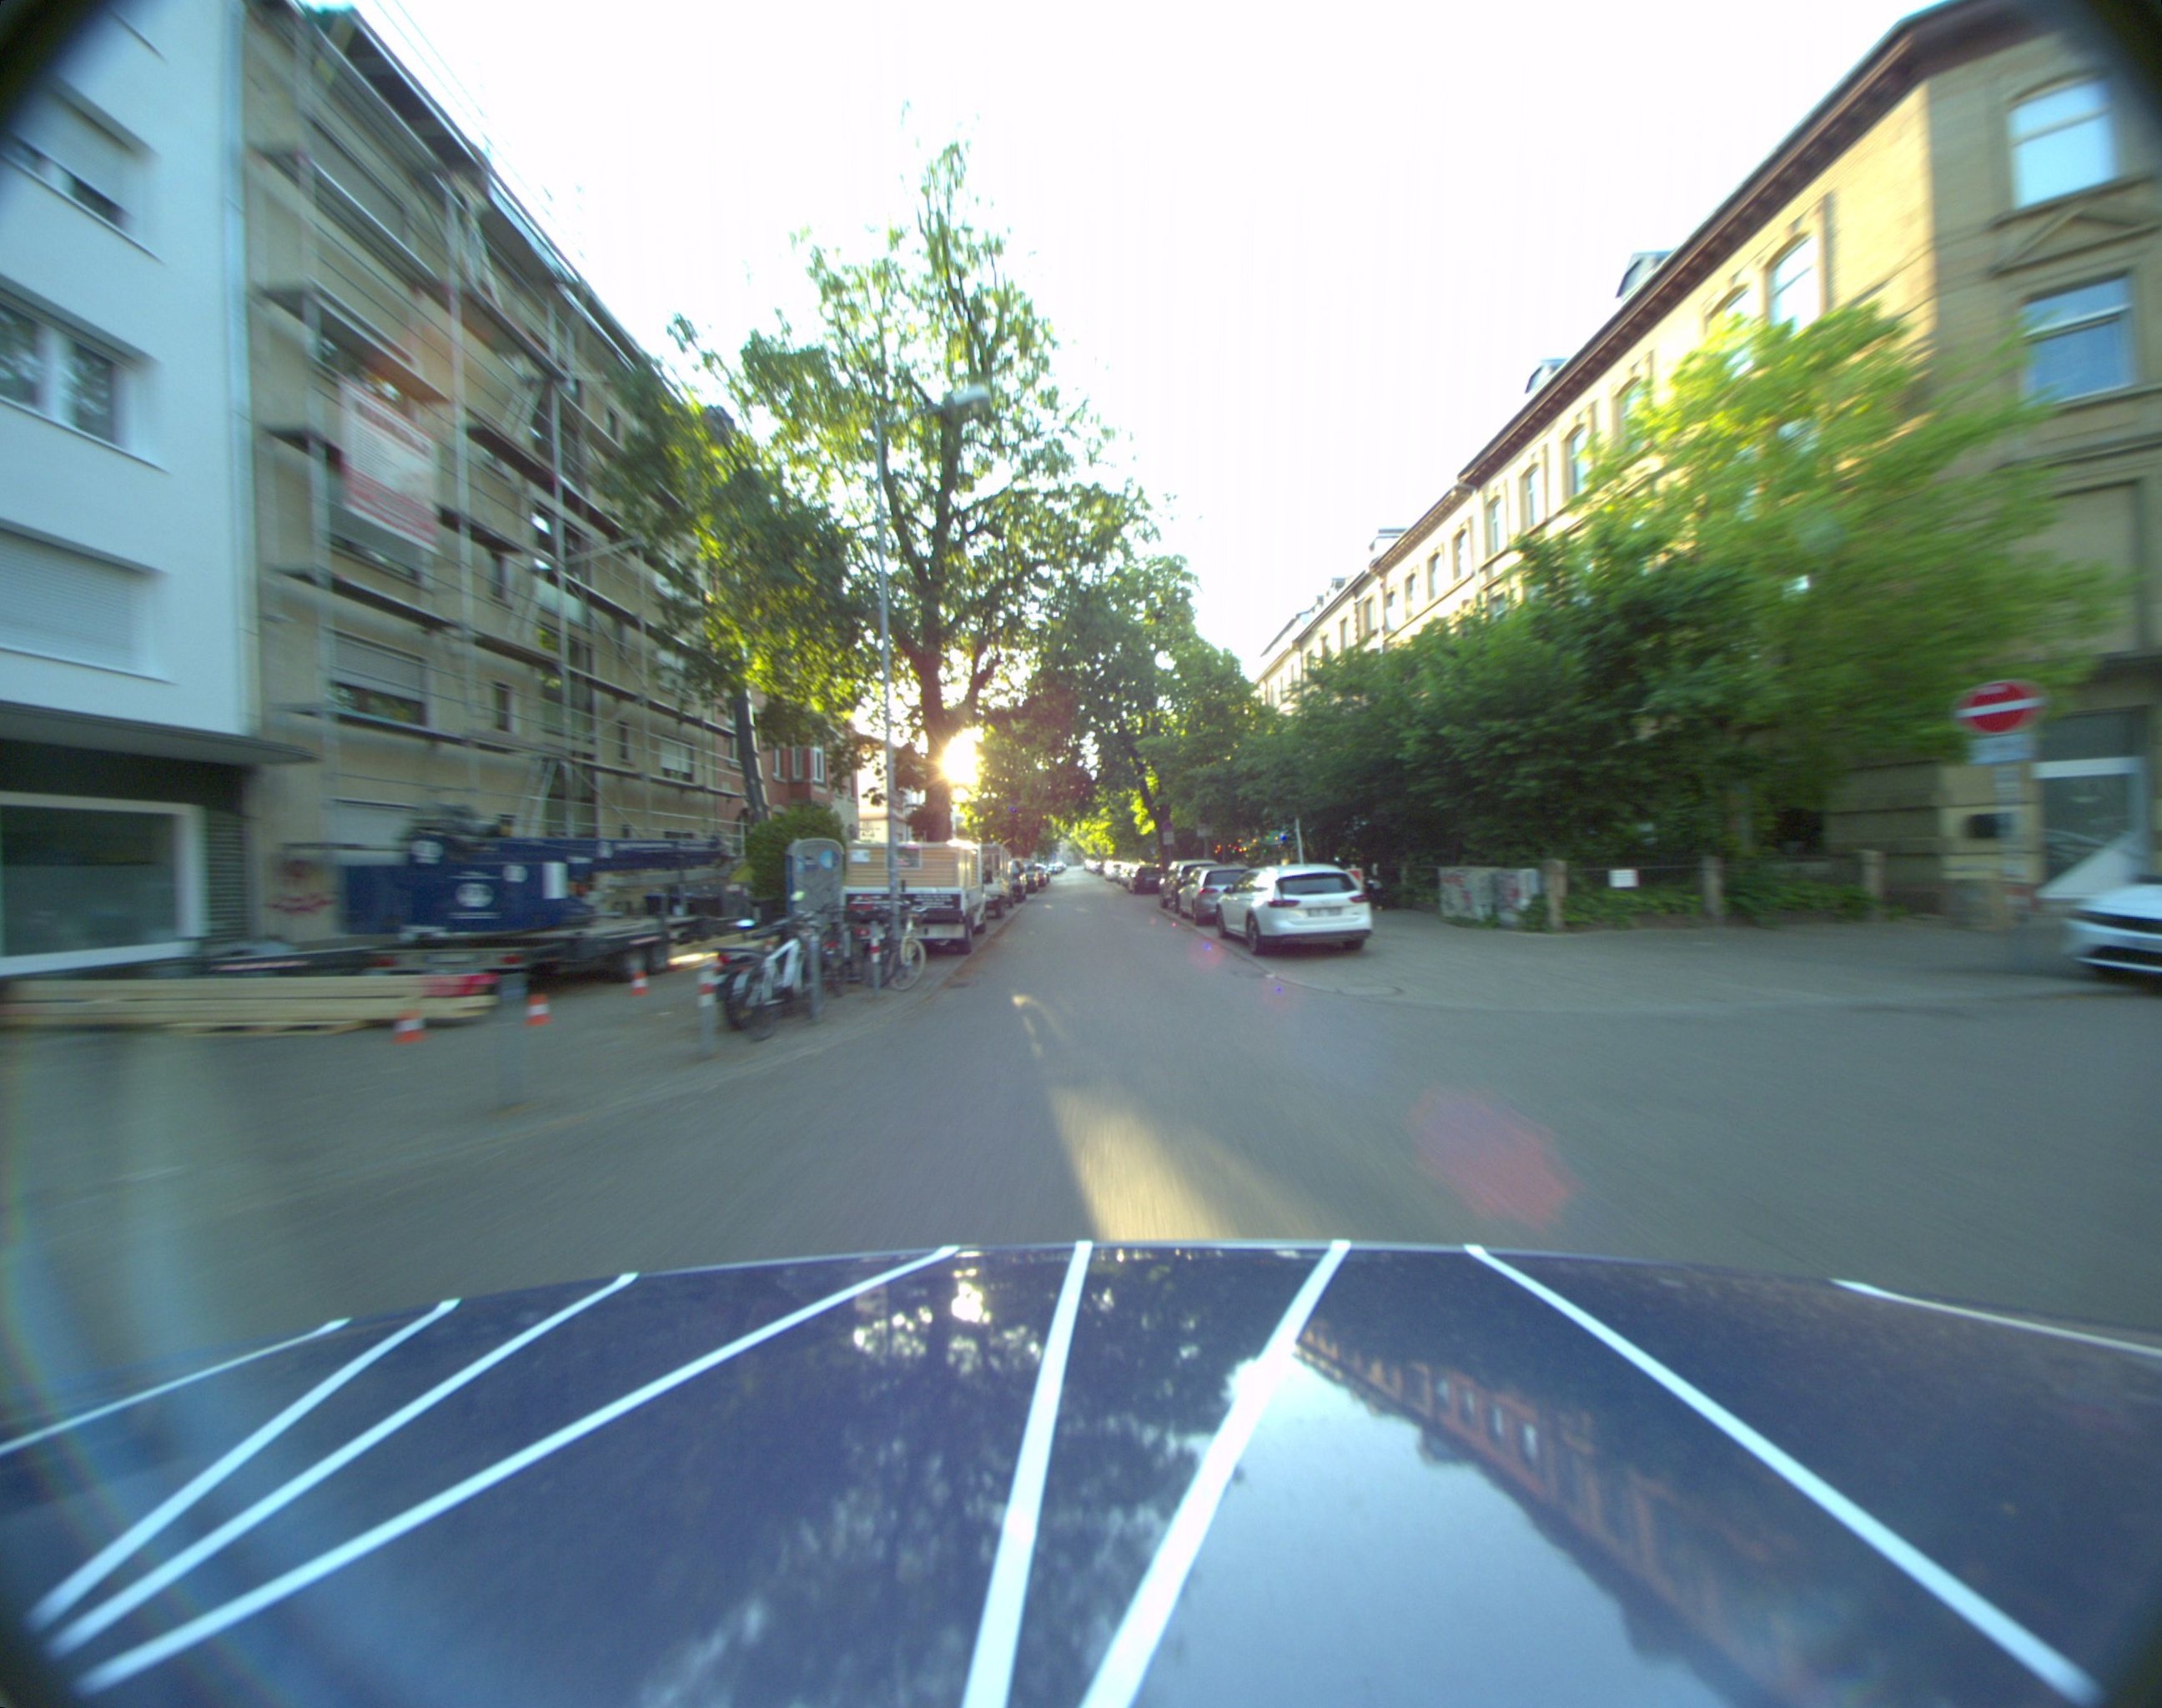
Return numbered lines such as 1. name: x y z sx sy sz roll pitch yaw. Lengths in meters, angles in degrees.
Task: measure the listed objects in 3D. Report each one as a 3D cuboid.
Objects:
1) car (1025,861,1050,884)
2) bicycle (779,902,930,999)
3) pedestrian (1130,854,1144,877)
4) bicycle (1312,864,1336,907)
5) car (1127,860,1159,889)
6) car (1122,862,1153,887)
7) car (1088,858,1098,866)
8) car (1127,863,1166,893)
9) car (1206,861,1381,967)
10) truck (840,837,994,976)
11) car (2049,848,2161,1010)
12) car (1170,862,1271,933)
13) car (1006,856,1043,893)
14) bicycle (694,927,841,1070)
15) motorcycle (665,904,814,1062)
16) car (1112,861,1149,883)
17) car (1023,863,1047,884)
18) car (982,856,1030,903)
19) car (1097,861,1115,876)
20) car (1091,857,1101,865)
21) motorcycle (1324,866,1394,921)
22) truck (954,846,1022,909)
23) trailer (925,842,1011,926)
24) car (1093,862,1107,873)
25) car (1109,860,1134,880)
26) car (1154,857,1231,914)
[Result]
1. car: -3.428 1.443 59.334 1.669 1.668 4.118 1 -1 -6
2. bicycle: -3.051 1.292 10.327 1.908 1.251 0.407 0 0 -6
3. pedestrian: 5.009 1.031 68.163 0.870 2.002 1.008 -1 0 -21
4. bicycle: 7.763 0.968 24.210 0.606 1.277 2.489 -1 0 20
5. car: 3.559 1.174 44.028 1.555 1.476 3.694 -4 -1 1
6. car: 3.515 1.273 47.909 1.607 1.427 3.886 -4 -1 1
7. car: 2.225 1.497 141.723 1.617 1.433 4.104 -3 -1 -3
8. car: 3.333 1.220 39.491 1.555 1.476 3.693 -1 -1 -2
9. car: 3.659 0.956 14.053 1.694 1.493 4.738 -4 -1 -2
10. truck: -3.078 0.868 15.893 1.982 2.231 6.774 -2 0 -3
11. car: 12.545 0.666 7.534 4.467 1.542 1.708 -1 -1 -10
12. car: 3.532 1.038 20.030 1.694 1.493 4.402 -4 0 -1
13. car: -3.312 1.194 45.111 1.959 2.046 4.830 1 -1 -2
14. bicycle: -3.194 1.415 7.986 0.406 1.103 2.156 0 0 7
15. motorcycle: -3.603 1.288 8.238 0.503 1.348 2.063 0 0 6
16. car: 3.495 1.295 54.584 1.845 1.403 4.599 -4 -1 -6
17. car: -3.290 1.392 54.661 1.669 1.491 3.693 1 -1 -3
18. car: -3.318 1.123 34.343 1.844 1.931 4.613 1 -1 -2
19. car: 3.004 1.764 92.686 1.871 1.677 4.592 -3 -1 -1
20. car: 2.901 1.359 147.580 1.617 1.433 4.104 -3 -1 -3
21. motorcycle: 6.862 0.938 18.962 0.584 1.149 2.891 -4 1 -1
22. truck: -3.492 0.877 29.389 1.959 2.233 4.645 1 -1 1
23. trailer: -3.287 0.846 22.978 1.959 2.282 4.644 1 -1 -1
24. car: 2.743 1.981 109.733 1.617 1.433 3.754 -4 -1 -4
25. car: 3.293 1.313 62.933 1.668 1.484 3.710 -4 -1 -1
26. car: 3.516 0.966 24.795 1.694 1.554 4.402 -4 -1 -1
